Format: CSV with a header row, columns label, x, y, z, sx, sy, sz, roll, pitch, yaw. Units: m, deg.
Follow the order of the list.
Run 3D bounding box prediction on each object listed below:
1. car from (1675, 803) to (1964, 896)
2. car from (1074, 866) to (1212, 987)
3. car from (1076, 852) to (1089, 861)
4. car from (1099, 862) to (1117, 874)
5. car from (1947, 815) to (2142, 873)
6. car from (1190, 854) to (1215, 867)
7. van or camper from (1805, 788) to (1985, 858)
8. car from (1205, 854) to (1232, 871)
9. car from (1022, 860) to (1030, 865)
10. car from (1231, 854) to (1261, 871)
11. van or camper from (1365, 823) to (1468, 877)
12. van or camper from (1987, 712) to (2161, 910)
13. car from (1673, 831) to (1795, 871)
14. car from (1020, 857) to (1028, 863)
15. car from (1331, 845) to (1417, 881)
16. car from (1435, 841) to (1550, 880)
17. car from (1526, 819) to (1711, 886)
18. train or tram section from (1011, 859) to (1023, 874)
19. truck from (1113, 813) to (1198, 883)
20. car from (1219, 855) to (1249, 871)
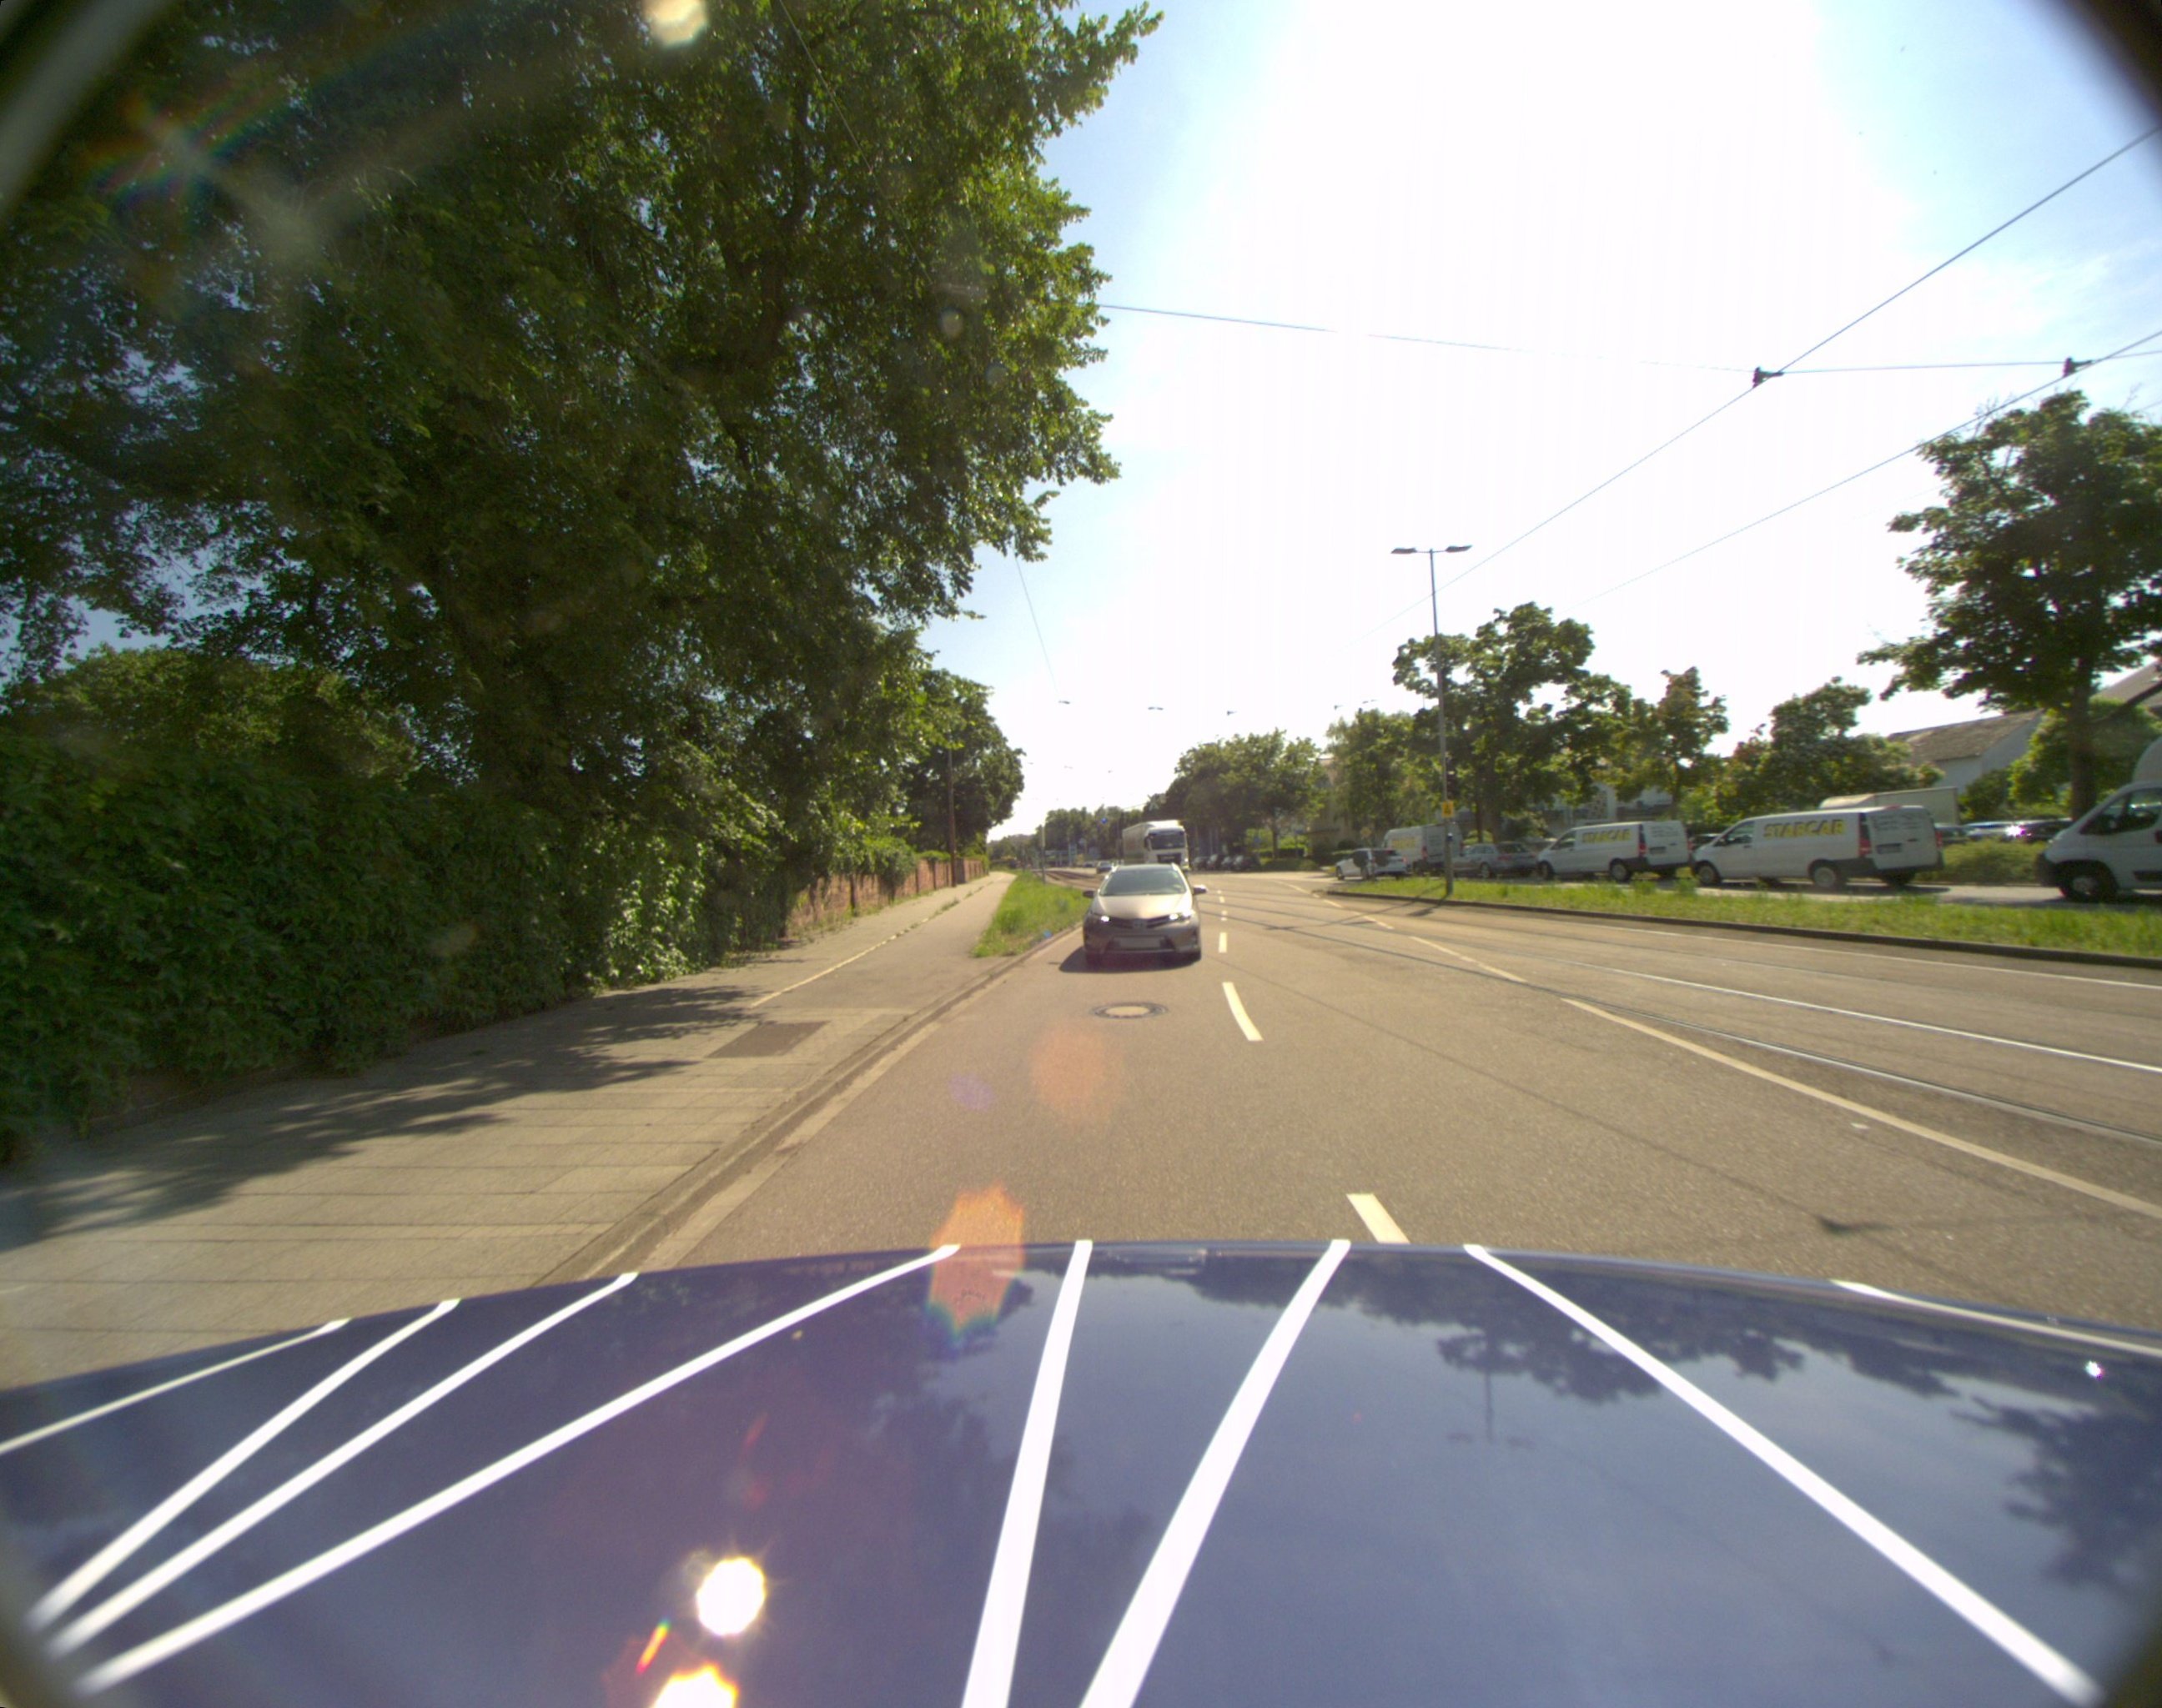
label,x,y,z,sx,sy,sz,roll,pitch,yaw
car,18.660,-0.090,19.687,2.202,1.929,5.184,-5,0,-2
car,0.952,0.982,11.906,1.719,1.439,4.032,-3,0,4
car,0.267,0.466,158.326,2.000,1.783,3.997,-2,0,-10
car,3.091,1.639,88.794,1.701,1.248,3.999,-3,0,-3
car,28.869,-0.298,22.831,3.998,1.535,1.663,-2,0,-4
car,13.713,0.750,85.738,1.680,1.427,4.456,-2,0,-6
van or camper,41.782,-1.559,39.106,6.970,3.225,2.581,-2,0,-6
car,14.257,0.848,79.018,1.680,1.603,4.240,-2,0,-6
car,-18.695,2.833,259.879,1.849,1.586,3.995,-3,0,-16
car,14.818,0.741,68.534,1.620,1.442,4.082,-3,0,-2
van or camper,17.088,-0.162,39.158,2.263,2.500,6.146,-2,0,-2
van or camper,18.720,-0.781,11.226,2.202,3.222,6.770,-5,0,-2
car,28.474,-0.124,33.195,3.998,1.535,1.663,-2,0,-4
car,-19.535,2.020,261.517,2.000,2.002,3.996,-3,0,-12
car,13.056,0.389,34.175,1.797,1.414,4.333,-3,0,-6
car,17.439,0.266,32.535,1.937,1.446,4.884,-4,0,-4
car,18.385,-0.024,26.396,2.203,1.929,5.181,-4,0,-8
train or tram section,-17.747,3.366,211.390,2.677,3.631,15.300,-5,0,-4
truck,4.961,-0.372,54.368,3.392,4.046,14.281,-5,0,-4
car,14.754,0.879,73.409,1.701,1.387,4.580,-2,0,-4
